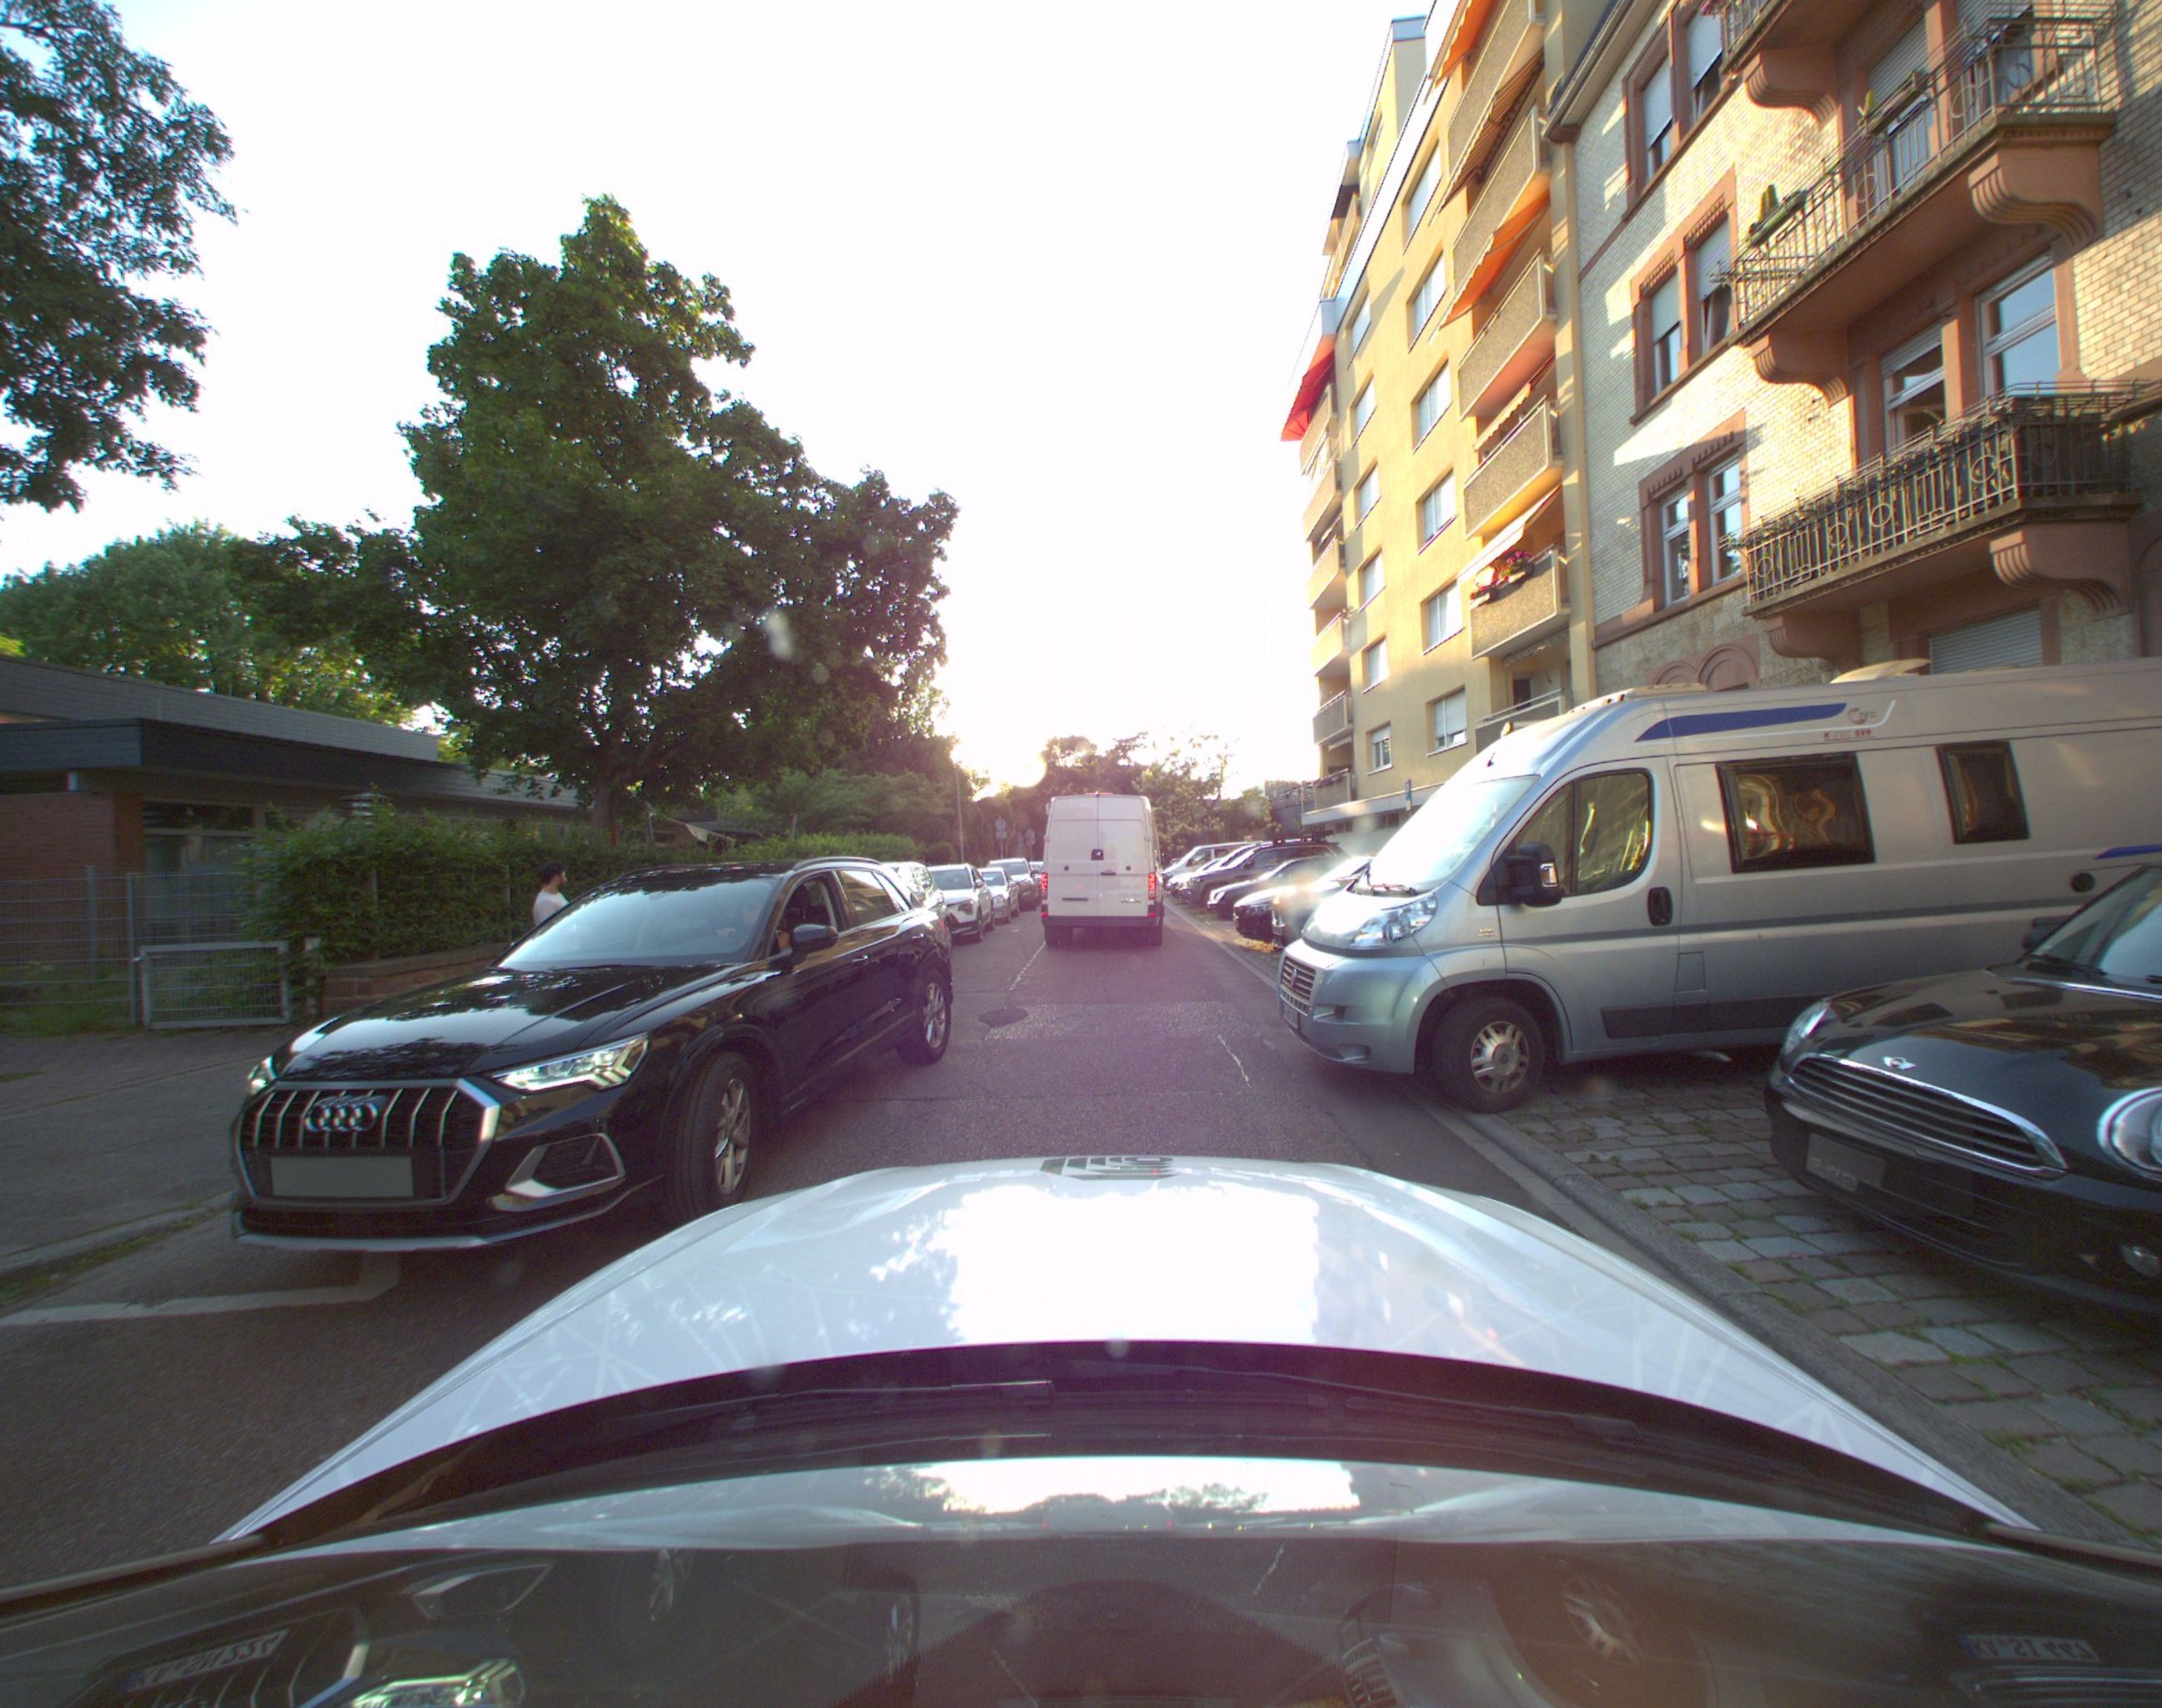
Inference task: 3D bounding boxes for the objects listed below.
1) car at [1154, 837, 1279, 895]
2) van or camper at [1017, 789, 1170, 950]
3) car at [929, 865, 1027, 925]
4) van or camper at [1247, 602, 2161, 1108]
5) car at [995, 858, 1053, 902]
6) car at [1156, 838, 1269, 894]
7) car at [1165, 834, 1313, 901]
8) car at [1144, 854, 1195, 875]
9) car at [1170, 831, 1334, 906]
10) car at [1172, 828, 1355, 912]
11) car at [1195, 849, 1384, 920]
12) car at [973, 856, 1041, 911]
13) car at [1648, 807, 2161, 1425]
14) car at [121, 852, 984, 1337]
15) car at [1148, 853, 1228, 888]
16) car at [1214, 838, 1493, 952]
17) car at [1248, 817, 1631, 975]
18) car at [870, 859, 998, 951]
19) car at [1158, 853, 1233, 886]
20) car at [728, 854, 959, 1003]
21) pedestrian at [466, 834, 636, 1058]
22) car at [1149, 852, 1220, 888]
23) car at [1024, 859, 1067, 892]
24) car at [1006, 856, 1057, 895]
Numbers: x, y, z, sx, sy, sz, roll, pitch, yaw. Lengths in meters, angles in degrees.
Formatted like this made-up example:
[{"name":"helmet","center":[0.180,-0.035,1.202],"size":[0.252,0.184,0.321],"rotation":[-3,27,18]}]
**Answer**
[{"name":"car","center":[5.371,0.471,32.719],"size":[4.690,2.145,2.000],"rotation":[-1,0,0]},{"name":"van or camper","center":[0.486,0.262,16.068],"size":[2.442,2.547,6.092],"rotation":[0,0,5]},{"name":"car","center":[-2.657,1.024,21.870],"size":[1.986,1.398,4.001],"rotation":[-1,0,1]},{"name":"van or camper","center":[4.335,-0.002,5.678],"size":[5.908,2.770,2.110],"rotation":[-1,-1,0]},{"name":"car","center":[-2.183,0.979,32.296],"size":[1.987,1.618,4.000],"rotation":[-1,0,0]},{"name":"car","center":[5.566,0.513,34.901],"size":[4.480,2.230,2.032],"rotation":[-1,-1,1]},{"name":"car","center":[5.345,0.451,28.038],"size":[4.690,2.145,2.000],"rotation":[-1,0,0]},{"name":"car","center":[7.355,0.852,68.061],"size":[3.977,1.618,1.998],"rotation":[-1,0,-2]},{"name":"car","center":[5.279,0.440,25.611],"size":[4.690,2.145,2.000],"rotation":[-1,0,0]},{"name":"car","center":[5.046,0.431,22.974],"size":[4.690,2.145,2.000],"rotation":[-1,0,0]},{"name":"car","center":[5.096,0.739,20.284],"size":[4.222,1.425,1.719],"rotation":[-4,-1,1]},{"name":"car","center":[-2.387,0.916,27.090],"size":[1.989,1.662,3.996],"rotation":[-1,0,-2]},{"name":"car","center":[4.599,0.529,2.801],"size":[3.919,1.486,1.788],"rotation":[-5,-2,2]},{"name":"car","center":[-2.145,0.825,5.031],"size":[1.793,1.569,4.577],"rotation":[-3,-1,9]},{"name":"car","center":[5.578,0.870,42.770],"size":[3.971,1.728,2.001],"rotation":[-1,-1,2]},{"name":"car","center":[4.452,0.646,13.721],"size":[3.978,1.454,1.834],"rotation":[-5,0,-3]},{"name":"car","center":[4.739,0.514,11.124],"size":[4.427,1.728,1.769],"rotation":[-3,0,-5]},{"name":"car","center":[-2.867,0.931,16.773],"size":[1.851,1.555,4.098],"rotation":[-4,0,-1]},{"name":"car","center":[6.394,0.879,45.792],"size":[3.971,1.728,2.001],"rotation":[-1,-1,2]},{"name":"car","center":[-3.106,0.892,11.600],"size":[1.775,1.631,4.004],"rotation":[-4,-1,4]},{"name":"pedestrian","center":[-4.600,0.766,7.129],"size":[0.934,1.830,0.787],"rotation":[-1,-1,0]},{"name":"car","center":[6.065,0.928,48.121],"size":[3.970,2.014,2.002],"rotation":[-1,0,3]},{"name":"car","center":[-1.793,1.066,42.325],"size":[1.987,1.618,4.000],"rotation":[-1,0,0]},{"name":"car","center":[-2.153,0.933,36.611],"size":[1.987,1.618,4.000],"rotation":[-1,0,0]}]
